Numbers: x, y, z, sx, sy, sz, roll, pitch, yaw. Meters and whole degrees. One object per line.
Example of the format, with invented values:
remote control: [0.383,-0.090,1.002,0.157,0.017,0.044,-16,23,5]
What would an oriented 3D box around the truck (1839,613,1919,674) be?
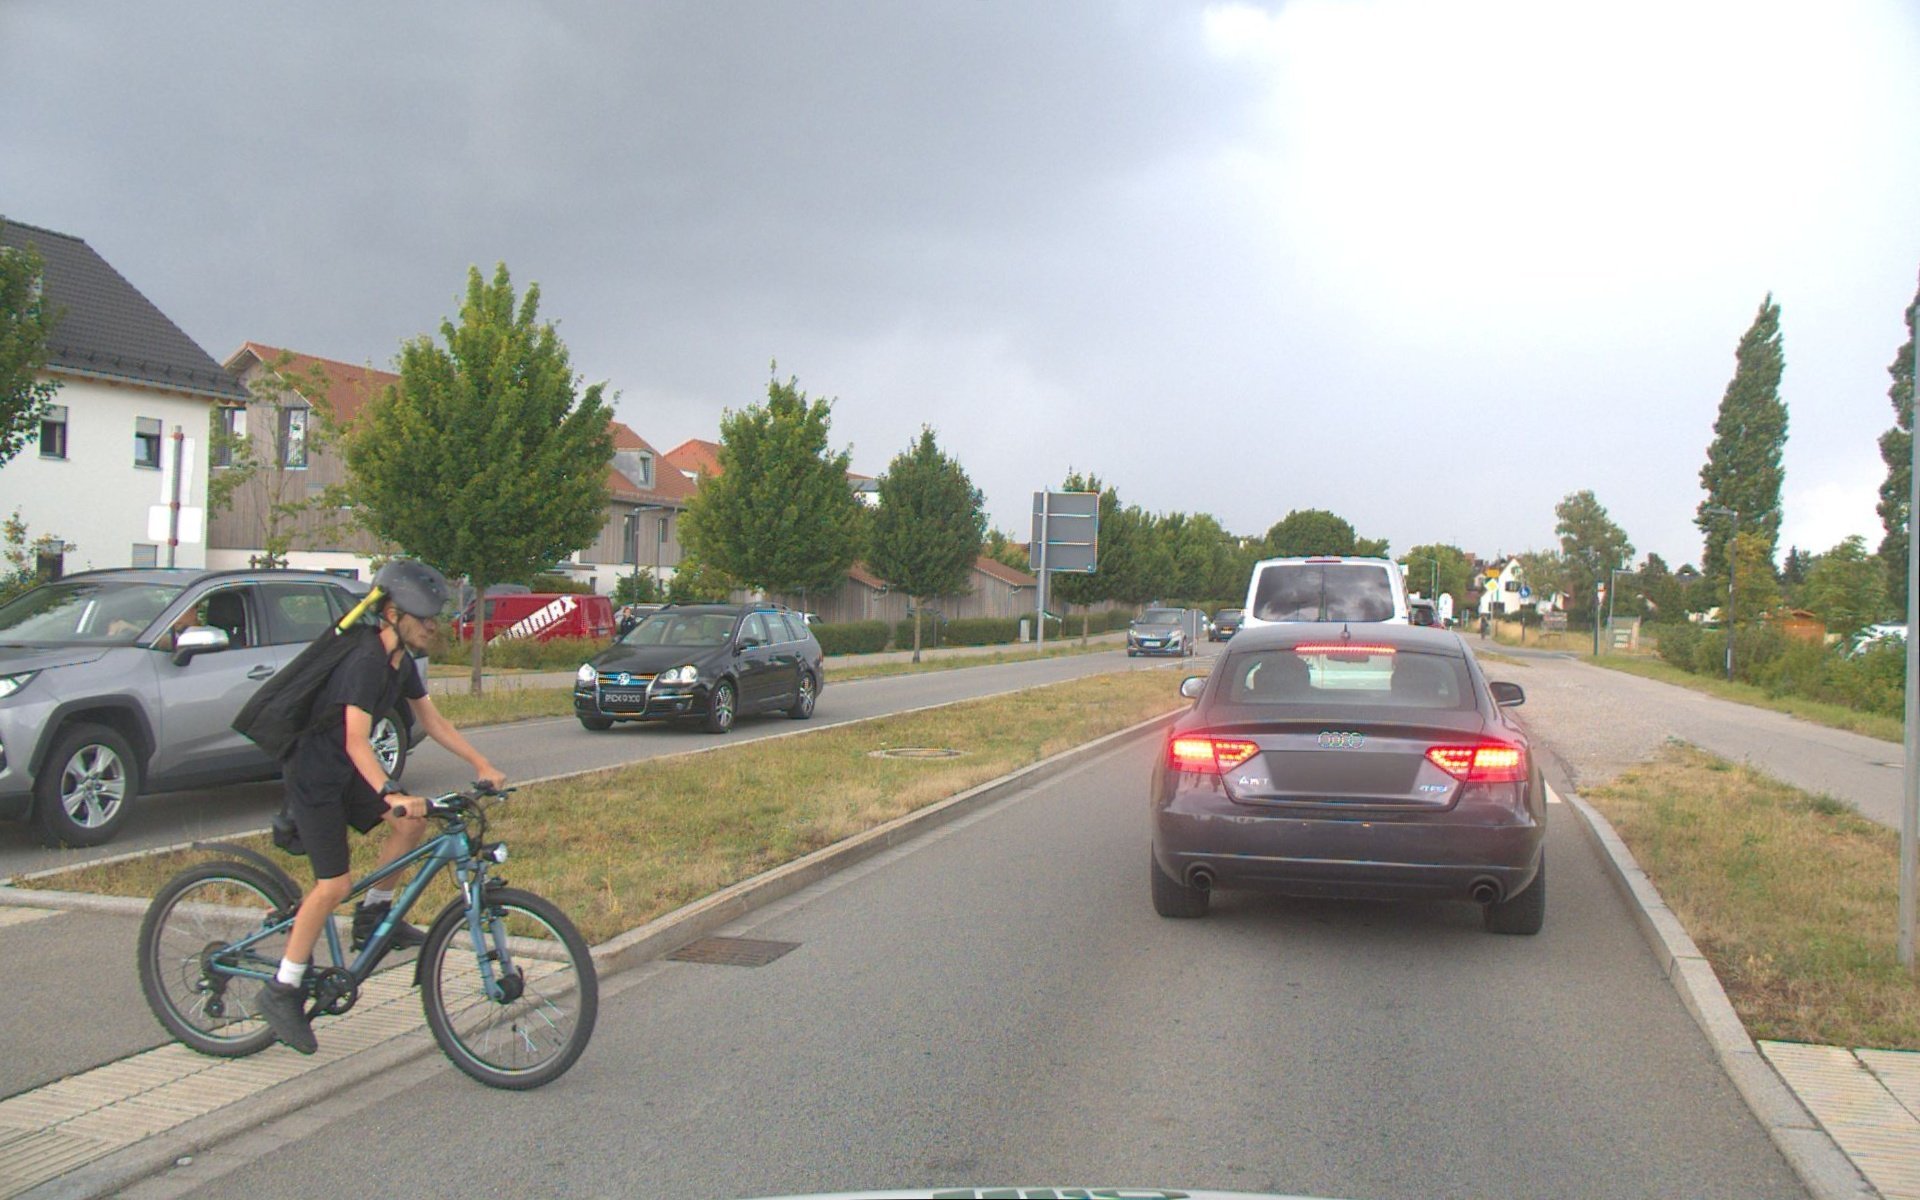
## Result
truck: [32.061,1.480,54.865,4.694,1.905,2.002,2,0,11]

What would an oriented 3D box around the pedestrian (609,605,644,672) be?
pedestrian: [-8.082,0.928,40.099,0.569,1.586,0.660,2,0,14]

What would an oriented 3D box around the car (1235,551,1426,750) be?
car: [4.203,0.535,18.699,1.827,1.968,4.003,-2,-1,13]

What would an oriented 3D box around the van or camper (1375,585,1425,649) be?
van or camper: [24.883,0.987,93.548,2.569,3.382,6.825,2,-1,15]

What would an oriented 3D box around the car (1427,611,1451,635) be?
car: [34.514,1.668,119.145,1.579,1.659,3.618,2,0,16]

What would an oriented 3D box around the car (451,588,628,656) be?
car: [-11.882,0.601,46.795,4.436,1.709,2.001,2,0,19]

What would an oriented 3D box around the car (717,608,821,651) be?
car: [-7.429,1.131,64.430,3.650,1.508,1.688,2,0,13]

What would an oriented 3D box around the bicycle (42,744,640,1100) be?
bicycle: [-1.881,0.959,5.108,1.672,0.963,0.497,0,0,6]

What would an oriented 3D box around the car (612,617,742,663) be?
car: [-9.409,1.323,55.117,3.831,1.338,1.844,2,0,13]

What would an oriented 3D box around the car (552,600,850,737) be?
car: [-2.979,0.751,20.083,1.717,1.441,4.457,1,0,18]

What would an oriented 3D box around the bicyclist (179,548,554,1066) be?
bicyclist: [-1.802,0.587,5.119,0.848,1.472,0.725,0,0,6]

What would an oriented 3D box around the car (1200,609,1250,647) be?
car: [12.018,1.253,74.863,1.827,1.601,4.003,2,0,14]

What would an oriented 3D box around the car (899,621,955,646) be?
car: [-1.556,1.593,78.629,2.419,1.046,1.186,2,0,10]

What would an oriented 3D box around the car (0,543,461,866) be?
car: [-5.524,0.559,11.087,1.951,1.733,4.638,1,0,16]

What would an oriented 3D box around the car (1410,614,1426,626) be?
car: [51.411,2.261,185.611,1.579,1.294,3.463,2,0,16]

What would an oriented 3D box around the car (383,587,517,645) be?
car: [-17.181,0.558,55.936,1.952,1.803,4.466,2,0,20]

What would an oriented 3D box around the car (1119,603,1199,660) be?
car: [6.175,0.932,50.983,1.694,1.433,4.209,6,2,16]

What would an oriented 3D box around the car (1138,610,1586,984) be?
car: [2.099,0.796,8.780,1.746,1.416,4.136,2,0,13]

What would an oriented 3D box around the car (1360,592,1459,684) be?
car: [8.900,0.710,32.829,1.739,1.646,4.003,2,0,15]
